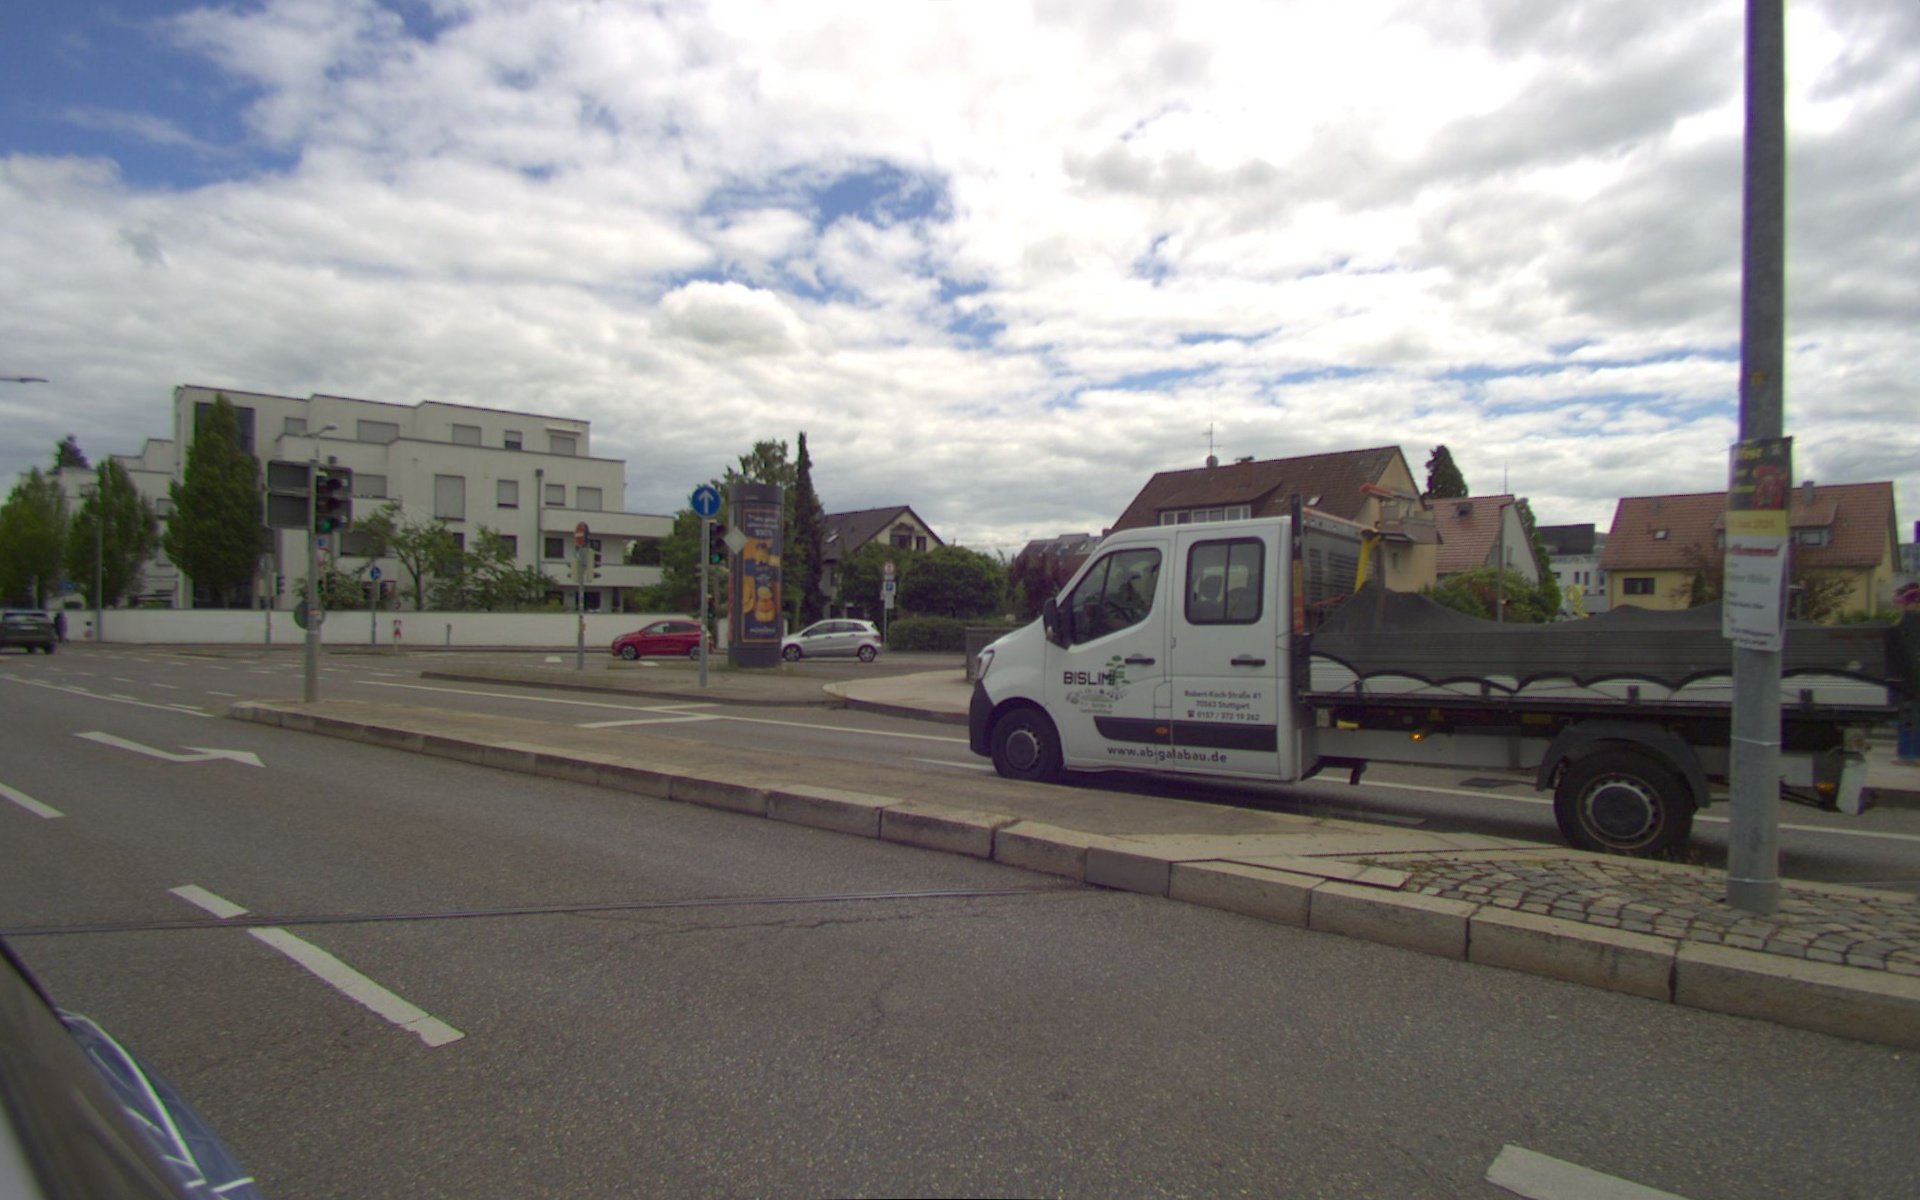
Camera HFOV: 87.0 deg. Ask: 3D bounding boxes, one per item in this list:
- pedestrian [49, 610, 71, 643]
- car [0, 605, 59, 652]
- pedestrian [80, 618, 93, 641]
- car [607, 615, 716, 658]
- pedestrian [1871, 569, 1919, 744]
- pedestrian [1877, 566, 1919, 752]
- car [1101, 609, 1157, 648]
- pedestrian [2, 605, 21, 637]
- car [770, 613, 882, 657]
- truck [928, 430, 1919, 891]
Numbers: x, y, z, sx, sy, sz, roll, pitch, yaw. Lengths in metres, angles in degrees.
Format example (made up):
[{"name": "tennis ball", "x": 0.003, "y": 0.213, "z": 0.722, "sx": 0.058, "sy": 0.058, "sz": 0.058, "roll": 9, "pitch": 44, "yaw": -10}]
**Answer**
[{"name": "pedestrian", "x": -43.385, "y": 1.288, "z": 48.792, "sx": 0.730, "sy": 1.554, "sz": 0.527, "roll": -1, "pitch": 3, "yaw": 36}, {"name": "car", "x": -34.974, "y": 1.025, "z": 37.240, "sx": 4.270, "sy": 1.639, "sz": 1.806, "roll": 0, "pitch": -2, "yaw": 36}, {"name": "pedestrian", "x": -41.735, "y": 1.389, "z": 48.341, "sx": 0.443, "sy": 1.070, "sz": 0.323, "roll": -1, "pitch": 3, "yaw": 37}, {"name": "car", "x": -10.977, "y": 1.325, "z": 37.448, "sx": 3.644, "sy": 1.458, "sz": 1.779, "roll": 2, "pitch": -1, "yaw": -9}, {"name": "pedestrian", "x": 9.332, "y": 0.524, "z": 9.658, "sx": 0.830, "sy": 1.645, "sz": 0.651, "roll": -1, "pitch": 0, "yaw": 32}, {"name": "pedestrian", "x": 8.984, "y": 0.514, "z": 9.037, "sx": 1.067, "sy": 1.645, "sz": 0.651, "roll": -1, "pitch": 0, "yaw": 32}, {"name": "car", "x": 8.172, "y": 1.340, "z": 49.221, "sx": 1.760, "sy": 1.592, "sz": 4.004, "roll": -2, "pitch": 1, "yaw": -4}, {"name": "pedestrian", "x": -58.011, "y": 1.282, "z": 61.901, "sx": 0.871, "sy": 1.962, "sz": 0.642, "roll": 0, "pitch": 2, "yaw": 38}, {"name": "car", "x": -5.008, "y": 1.318, "z": 37.973, "sx": 4.065, "sy": 1.547, "sz": 1.650, "roll": 2, "pitch": -2, "yaw": -7}, {"name": "truck", "x": 2.988, "y": 0.336, "z": 7.851, "sx": 6.799, "sy": 2.282, "sz": 2.104, "roll": 0, "pitch": -1, "yaw": 40}]
